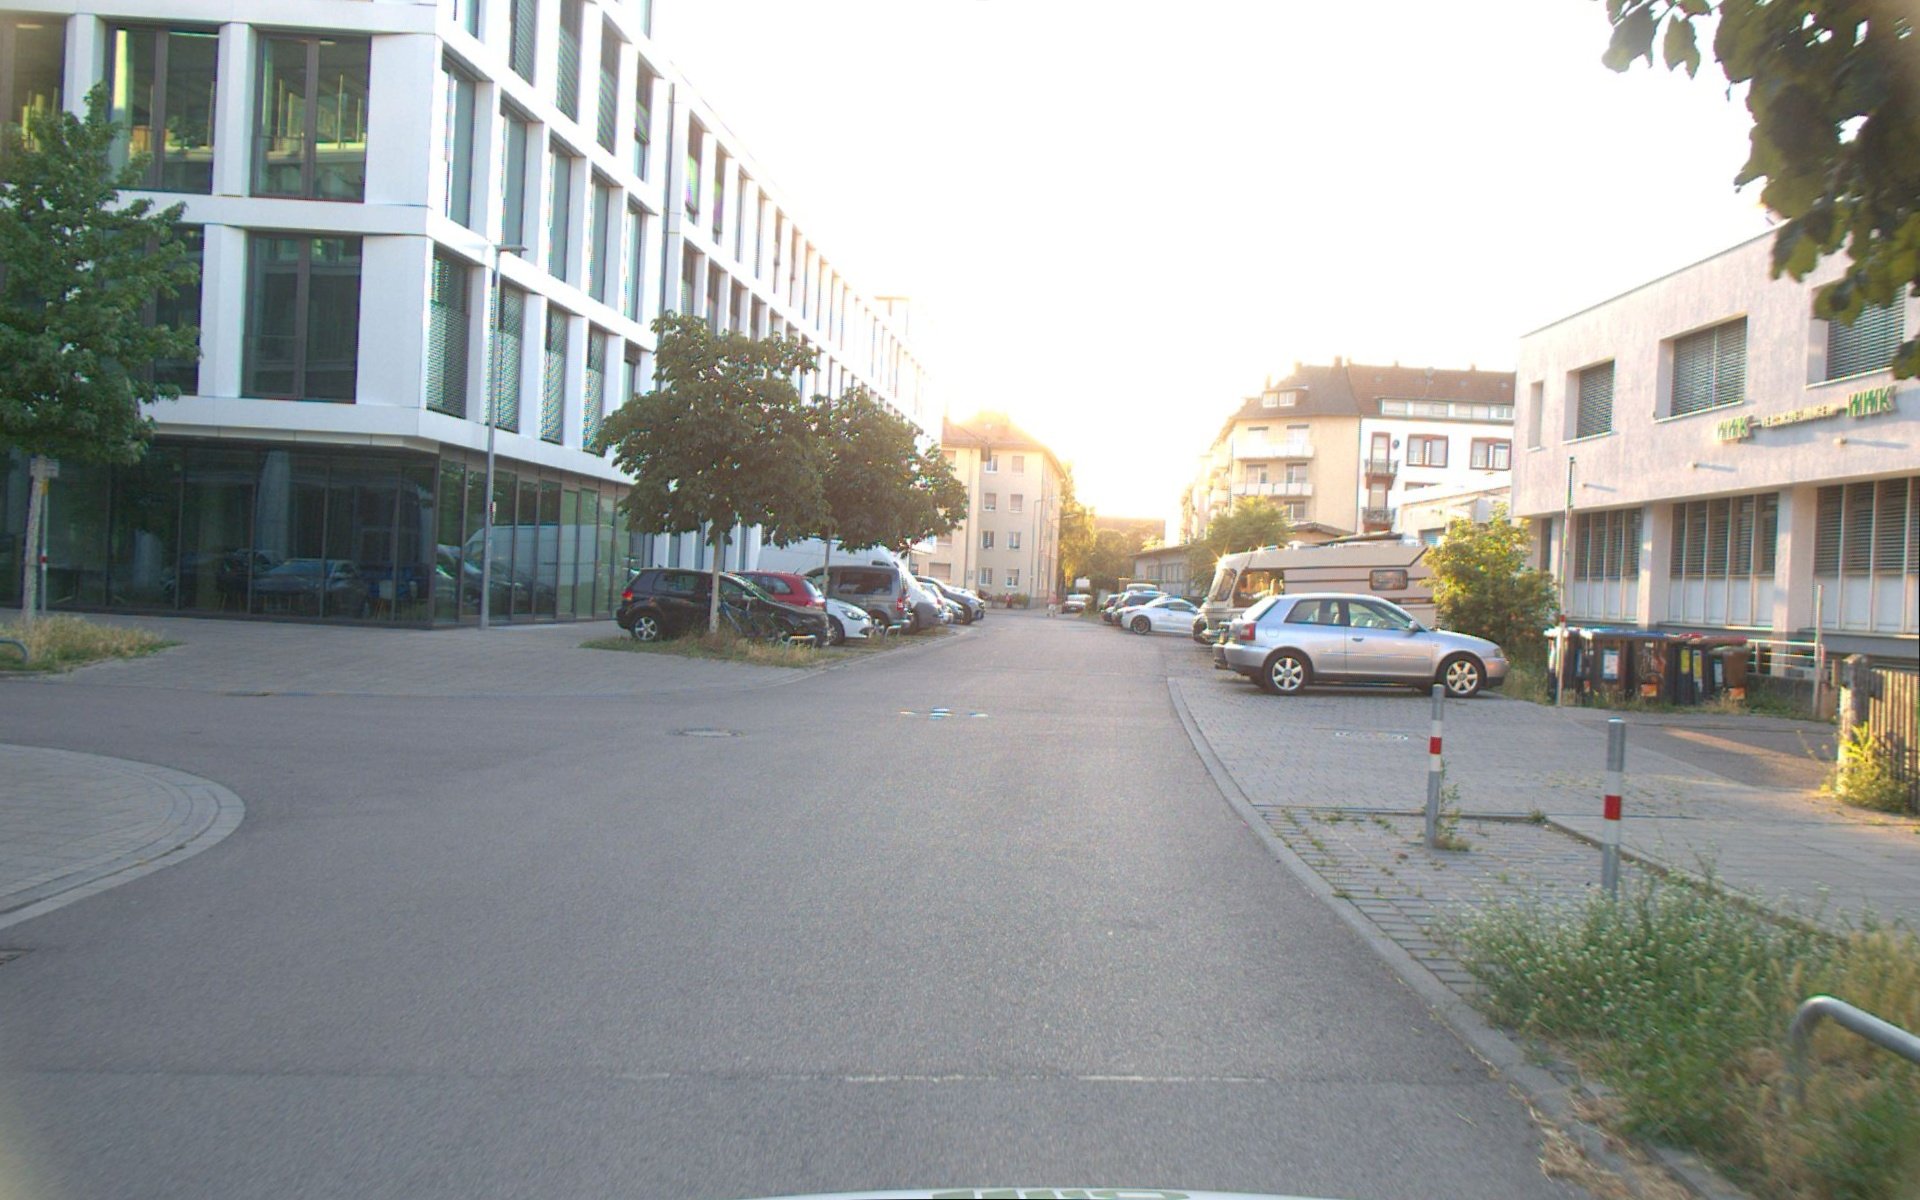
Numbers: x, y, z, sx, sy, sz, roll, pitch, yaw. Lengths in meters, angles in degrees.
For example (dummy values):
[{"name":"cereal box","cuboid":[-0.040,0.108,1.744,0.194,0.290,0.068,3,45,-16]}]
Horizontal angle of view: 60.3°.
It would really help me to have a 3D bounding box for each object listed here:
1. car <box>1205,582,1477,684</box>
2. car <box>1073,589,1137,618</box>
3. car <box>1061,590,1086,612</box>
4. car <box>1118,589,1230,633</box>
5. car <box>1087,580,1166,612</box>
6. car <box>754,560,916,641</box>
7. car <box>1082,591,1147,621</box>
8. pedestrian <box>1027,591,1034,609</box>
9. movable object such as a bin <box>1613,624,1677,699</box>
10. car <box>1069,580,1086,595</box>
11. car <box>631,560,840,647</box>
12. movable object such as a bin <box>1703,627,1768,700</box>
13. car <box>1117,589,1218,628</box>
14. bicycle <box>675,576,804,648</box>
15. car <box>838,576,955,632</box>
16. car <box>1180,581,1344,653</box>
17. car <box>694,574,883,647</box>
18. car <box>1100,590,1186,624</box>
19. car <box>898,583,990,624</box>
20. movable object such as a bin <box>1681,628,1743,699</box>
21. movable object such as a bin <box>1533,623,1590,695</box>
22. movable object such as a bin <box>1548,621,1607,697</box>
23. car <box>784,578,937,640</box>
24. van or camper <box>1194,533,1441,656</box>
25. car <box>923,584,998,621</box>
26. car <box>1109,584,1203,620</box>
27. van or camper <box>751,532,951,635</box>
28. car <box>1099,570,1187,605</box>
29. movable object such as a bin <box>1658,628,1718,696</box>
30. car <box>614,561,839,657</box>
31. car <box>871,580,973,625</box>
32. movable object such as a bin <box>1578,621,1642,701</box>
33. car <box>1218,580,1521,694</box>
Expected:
[{"name":"car","cuboid":[6.080,0.502,26.691,3.967,1.504,1.768,1,1,0]},{"name":"car","cuboid":[9.058,0.214,103.312,3.825,1.672,1.710,1,1,0]},{"name":"car","cuboid":[9.034,0.059,131.658,1.909,1.612,3.642,2,0,3]},{"name":"car","cuboid":[7.792,0.390,60.562,3.964,1.504,1.769,1,2,5]},{"name":"car","cuboid":[9.241,-0.251,92.027,4.253,1.672,1.816,1,1,0]},{"name":"car","cuboid":[-3.160,-0.009,42.337,3.966,1.941,1.737,1,1,1]},{"name":"car","cuboid":[9.155,0.345,98.443,3.709,1.672,1.697,1,1,0]},{"name":"pedestrian","cuboid":[5.511,0.029,129.972,0.491,1.403,0.455,2,0,2]},{"name":"movable object such as a bin","cuboid":[9.516,0.847,22.987,0.566,0.975,0.689,2,1,0]},{"name":"car","cuboid":[12.422,-1.319,175.406,1.706,1.552,3.553,2,0,3]},{"name":"car","cuboid":[-4.689,0.067,34.866,3.965,1.504,1.769,4,0,5]},{"name":"movable object such as a bin","cuboid":[11.055,0.895,23.597,0.566,0.975,0.689,2,1,0]},{"name":"car","cuboid":[8.552,0.329,68.454,3.967,1.504,1.768,1,1,0]},{"name":"bicycle","cuboid":[-3.981,0.209,29.951,2.133,1.194,0.811,2,0,5]},{"name":"car","cuboid":[-1.981,0.114,52.102,3.484,1.680,1.459,1,1,5]},{"name":"car","cuboid":[7.966,0.429,43.799,3.908,1.716,1.763,2,0,-4]},{"name":"car","cuboid":[-3.845,0.215,37.473,3.964,1.504,1.769,1,2,5]},{"name":"car","cuboid":[8.886,0.336,80.564,3.967,1.504,1.768,1,1,0]},{"name":"car","cuboid":[-0.628,0.117,65.475,3.484,1.504,1.459,1,1,5]},{"name":"movable object such as a bin","cuboid":[11.050,0.925,24.310,0.566,0.975,0.689,2,1,0]},{"name":"movable object such as a bin","cuboid":[8.889,0.863,24.458,0.566,1.028,0.688,2,0,0]},{"name":"movable object such as a bin","cuboid":[8.696,0.833,23.298,0.566,1.028,0.688,2,-4,0]},{"name":"car","cuboid":[-2.651,0.224,44.673,3.966,1.550,1.737,1,1,1]},{"name":"van or camper","cuboid":[8.635,-0.168,40.358,5.494,2.838,2.430,1,1,1]},{"name":"car","cuboid":[0.033,0.089,67.877,2.951,1.446,1.459,1,1,5]},{"name":"car","cuboid":[8.683,0.087,73.404,3.967,1.504,1.768,1,1,0]},{"name":"van or camper","cuboid":[-3.085,-0.495,47.307,5.338,2.526,1.776,4,1,5]},{"name":"car","cuboid":[9.334,-0.642,84.551,4.253,1.672,1.816,1,1,0]},{"name":"movable object such as a bin","cuboid":[11.050,0.934,25.114,0.566,0.975,0.689,2,1,0]},{"name":"car","cuboid":[-4.478,0.147,32.041,3.966,1.504,1.768,4,2,2]},{"name":"car","cuboid":[-1.359,0.092,59.317,3.484,1.504,1.459,1,1,5]},{"name":"movable object such as a bin","cuboid":[8.865,0.830,22.562,0.566,1.028,0.689,2,1,0]},{"name":"car","cuboid":[5.902,0.515,24.159,3.967,1.504,1.768,1,1,0]}]
